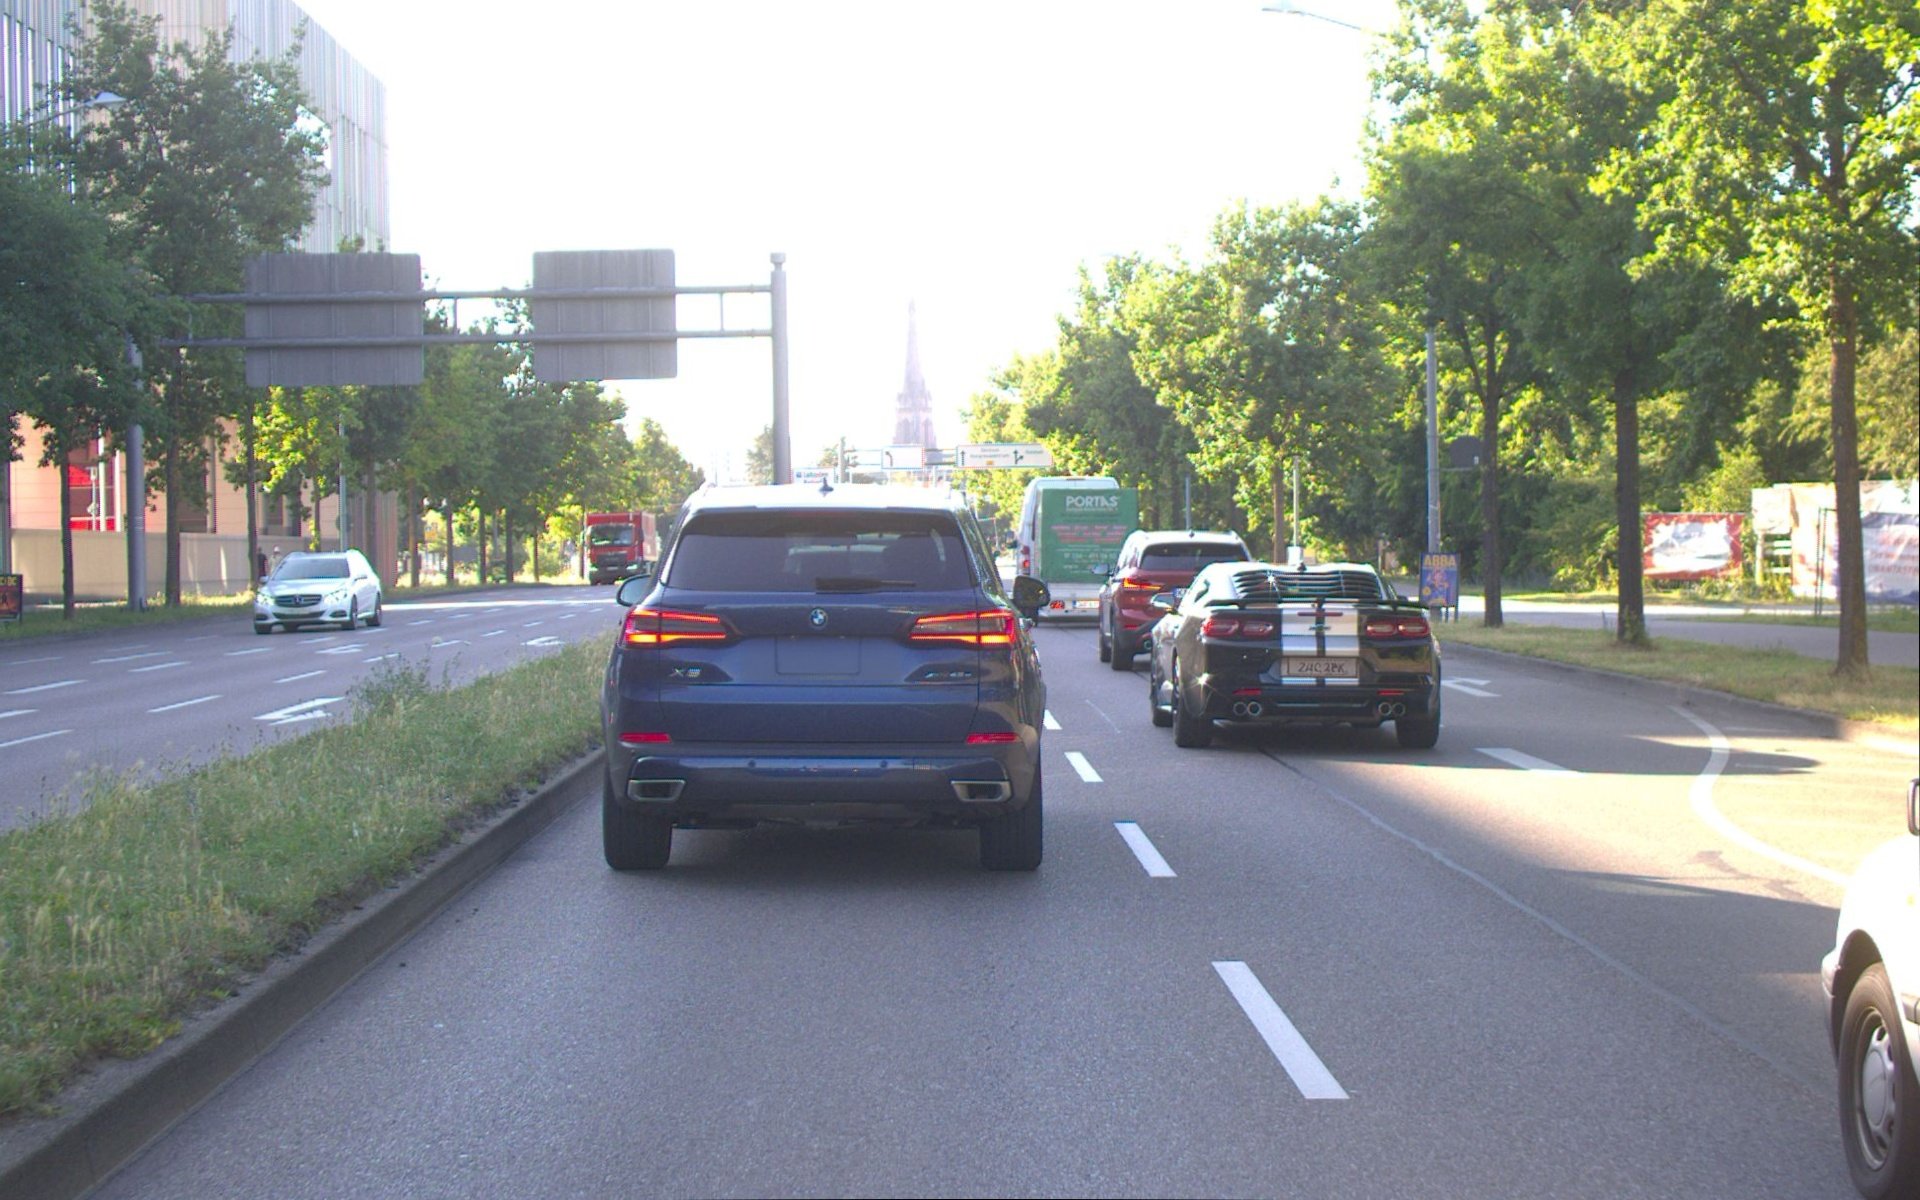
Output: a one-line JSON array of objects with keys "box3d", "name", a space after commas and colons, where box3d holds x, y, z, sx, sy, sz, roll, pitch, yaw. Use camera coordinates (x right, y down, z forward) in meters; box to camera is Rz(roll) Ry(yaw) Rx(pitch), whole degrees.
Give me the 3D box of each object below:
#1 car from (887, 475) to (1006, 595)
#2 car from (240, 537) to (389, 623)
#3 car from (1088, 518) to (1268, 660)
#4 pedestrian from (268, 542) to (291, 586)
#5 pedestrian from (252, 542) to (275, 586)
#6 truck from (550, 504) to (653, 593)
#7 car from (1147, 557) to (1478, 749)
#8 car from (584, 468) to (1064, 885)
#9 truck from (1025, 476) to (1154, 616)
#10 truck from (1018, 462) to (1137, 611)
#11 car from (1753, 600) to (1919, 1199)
[{"box3d": [-0.343, -1.400, 76.574, 2.136, 2.567, 5.088, 1, 0, -6], "name": "car"}, {"box3d": [-12.260, -0.369, 65.536, 1.993, 1.447, 4.715, -4, 0, -2], "name": "car"}, {"box3d": [2.496, -0.122, 40.186, 1.796, 1.553, 4.000, 1, 0, -1], "name": "car"}, {"box3d": [-23.496, -1.247, 118.676, 0.627, 1.516, 0.718, 1, 0, 2], "name": "pedestrian"}, {"box3d": [-24.148, -1.253, 119.170, 0.627, 1.516, 0.718, 1, 0, 2], "name": "pedestrian"}, {"box3d": [-17.222, -2.397, 166.021, 3.988, 4.074, 11.449, 1, 0, -1], "name": "truck"}, {"box3d": [2.522, 0.364, 25.535, 1.993, 1.290, 4.000, 1, 0, -1], "name": "car"}, {"box3d": [-0.594, 0.322, 16.701, 1.993, 1.728, 4.533, 1, 0, -1], "name": "car"}, {"box3d": [2.188, -0.893, 59.118, 1.996, 2.307, 4.000, 1, 0, -1], "name": "truck"}, {"box3d": [2.151, -1.146, 63.806, 1.996, 2.659, 4.000, 1, 0, -1], "name": "truck"}, {"box3d": [2.822, 0.714, 6.536, 1.578, 1.408, 4.062, 1, 0, -2], "name": "car"}]
